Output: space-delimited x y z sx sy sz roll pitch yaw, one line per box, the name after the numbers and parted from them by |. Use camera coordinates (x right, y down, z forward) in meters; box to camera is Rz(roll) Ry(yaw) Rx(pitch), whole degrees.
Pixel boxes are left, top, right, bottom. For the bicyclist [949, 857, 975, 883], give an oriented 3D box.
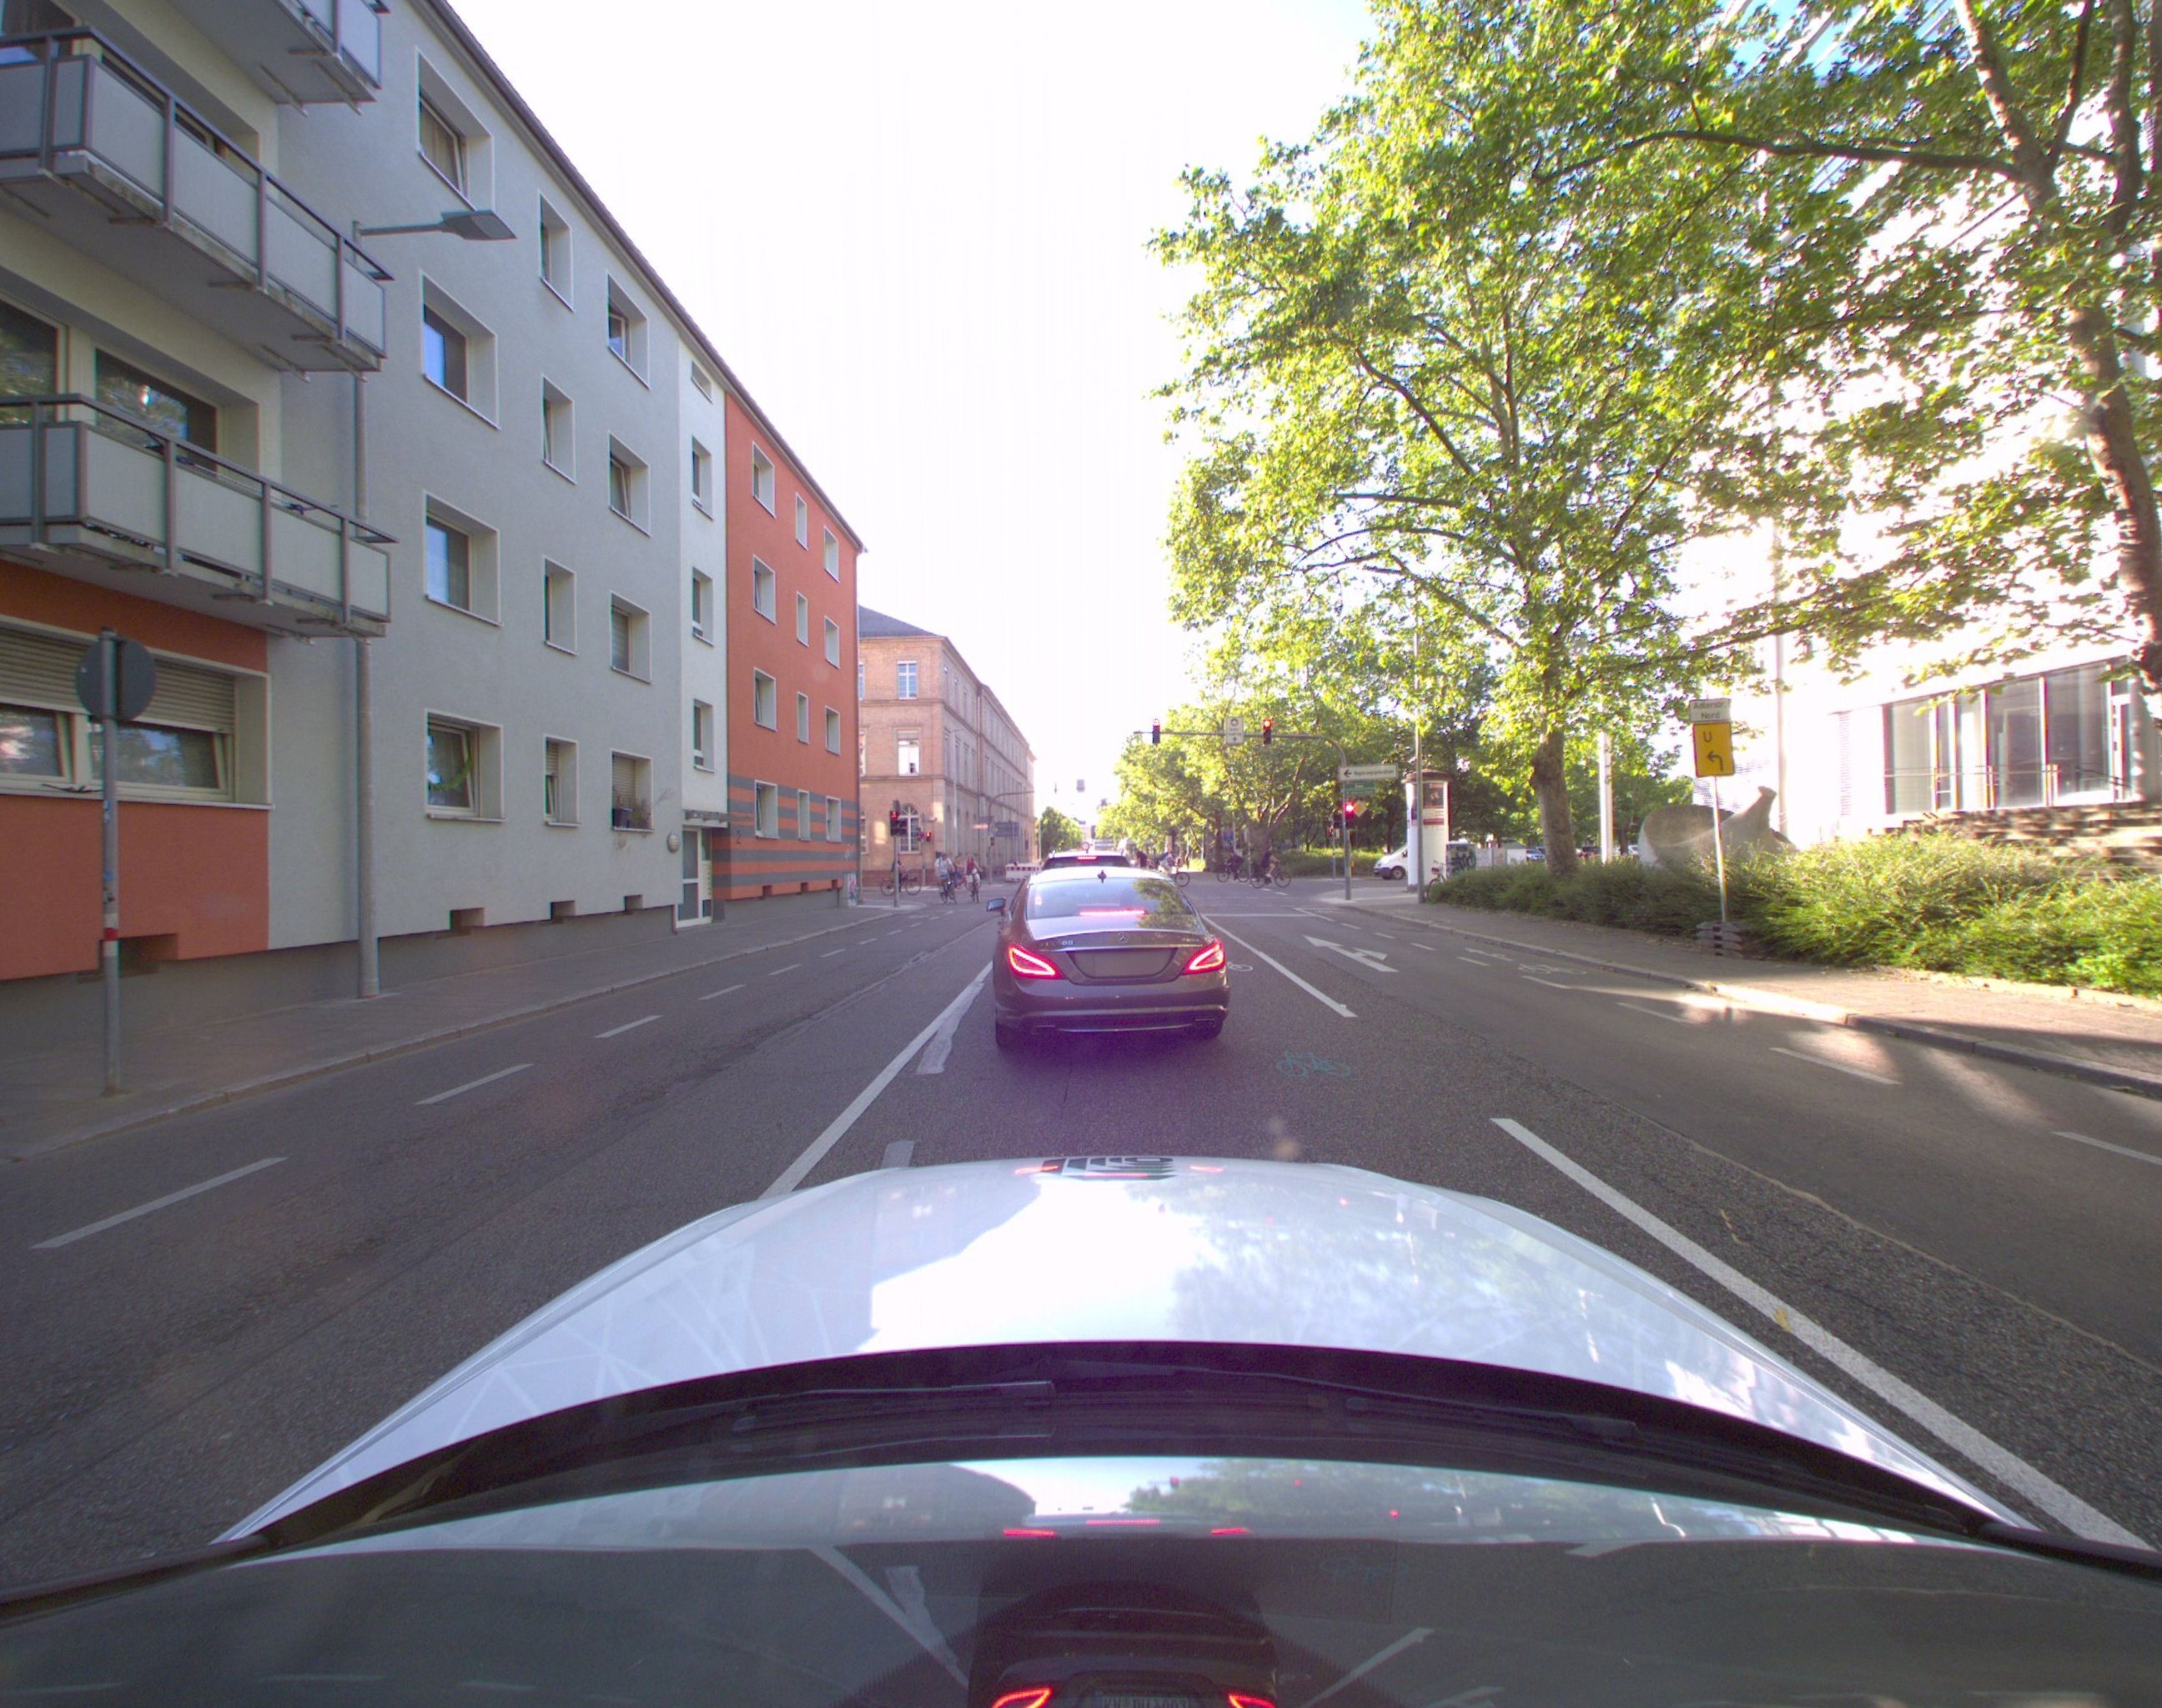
-5.268 0.708 36.097 0.987 1.154 0.621 -1 0 4 | bicyclist

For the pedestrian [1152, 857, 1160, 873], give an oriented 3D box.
6.986 1.038 75.856 0.646 1.503 0.637 -1 0 1 | pedestrian

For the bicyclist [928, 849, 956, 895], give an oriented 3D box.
-4.895 0.620 28.573 0.844 1.555 0.834 -1 0 -18 | bicyclist

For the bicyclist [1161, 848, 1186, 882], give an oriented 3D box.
4.258 0.494 37.484 1.069 1.519 0.718 -1 0 6 | bicyclist

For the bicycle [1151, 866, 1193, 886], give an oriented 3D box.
4.171 1.027 37.487 1.884 0.882 0.726 -1 0 5 | bicycle

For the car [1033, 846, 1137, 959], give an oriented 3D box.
0.058 0.711 13.856 1.513 1.647 3.879 -1 0 0 | car

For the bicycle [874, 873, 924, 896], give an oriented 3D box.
-7.821 1.306 35.076 1.979 0.903 0.734 -1 0 1 | bicycle

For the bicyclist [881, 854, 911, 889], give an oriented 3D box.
-7.954 0.734 35.079 1.113 1.490 0.712 -1 0 1 | bicyclist

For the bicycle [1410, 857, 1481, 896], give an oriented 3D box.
10.524 0.652 23.542 1.796 1.097 0.510 -1 0 4 | bicycle

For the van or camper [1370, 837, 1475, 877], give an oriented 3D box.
17.430 0.148 41.782 4.558 1.941 2.002 -1 0 4 | van or camper

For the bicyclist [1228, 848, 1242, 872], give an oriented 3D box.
8.307 0.325 43.926 0.700 1.260 0.458 -1 0 5 | bicyclist

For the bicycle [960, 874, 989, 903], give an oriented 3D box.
-3.805 1.202 28.935 0.695 0.929 1.851 -1 0 -18 | bicycle

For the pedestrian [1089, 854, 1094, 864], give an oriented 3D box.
1.735 0.806 133.970 0.799 1.576 0.845 -1 0 1 | pedestrian

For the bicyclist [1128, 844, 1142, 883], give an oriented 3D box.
2.799 0.472 42.279 0.651 2.013 0.439 -1 0 -7 | bicyclist

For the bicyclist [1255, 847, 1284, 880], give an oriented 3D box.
8.272 0.424 35.770 1.098 1.403 0.658 -1 0 4 | bicyclist

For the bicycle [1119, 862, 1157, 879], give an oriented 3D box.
2.946 0.852 42.277 1.889 0.837 0.457 -1 0 -6 | bicycle

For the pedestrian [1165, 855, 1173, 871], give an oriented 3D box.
8.155 0.854 75.418 0.646 1.433 0.659 -1 0 1 | pedestrian

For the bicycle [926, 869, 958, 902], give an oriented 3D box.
-4.911 1.074 28.672 0.865 1.079 1.826 -1 0 -17 | bicycle

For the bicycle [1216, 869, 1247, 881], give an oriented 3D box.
8.095 1.131 43.842 1.579 0.635 0.496 -1 0 5 | bicycle

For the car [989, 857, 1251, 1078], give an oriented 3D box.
0.090 0.779 7.776 1.801 1.456 4.342 -1 0 -5 | car

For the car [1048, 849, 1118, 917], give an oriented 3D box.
0.125 0.768 23.382 1.813 1.762 4.002 -1 0 2 | car

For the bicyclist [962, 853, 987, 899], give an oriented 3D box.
-3.769 0.757 28.786 0.687 1.578 0.976 -1 0 -18 | bicyclist

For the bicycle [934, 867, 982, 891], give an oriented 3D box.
-5.442 1.107 36.111 1.971 1.027 0.652 -1 0 3 | bicycle

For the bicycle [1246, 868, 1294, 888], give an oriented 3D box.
8.305 1.043 35.767 1.965 0.836 0.677 -1 0 4 | bicycle
